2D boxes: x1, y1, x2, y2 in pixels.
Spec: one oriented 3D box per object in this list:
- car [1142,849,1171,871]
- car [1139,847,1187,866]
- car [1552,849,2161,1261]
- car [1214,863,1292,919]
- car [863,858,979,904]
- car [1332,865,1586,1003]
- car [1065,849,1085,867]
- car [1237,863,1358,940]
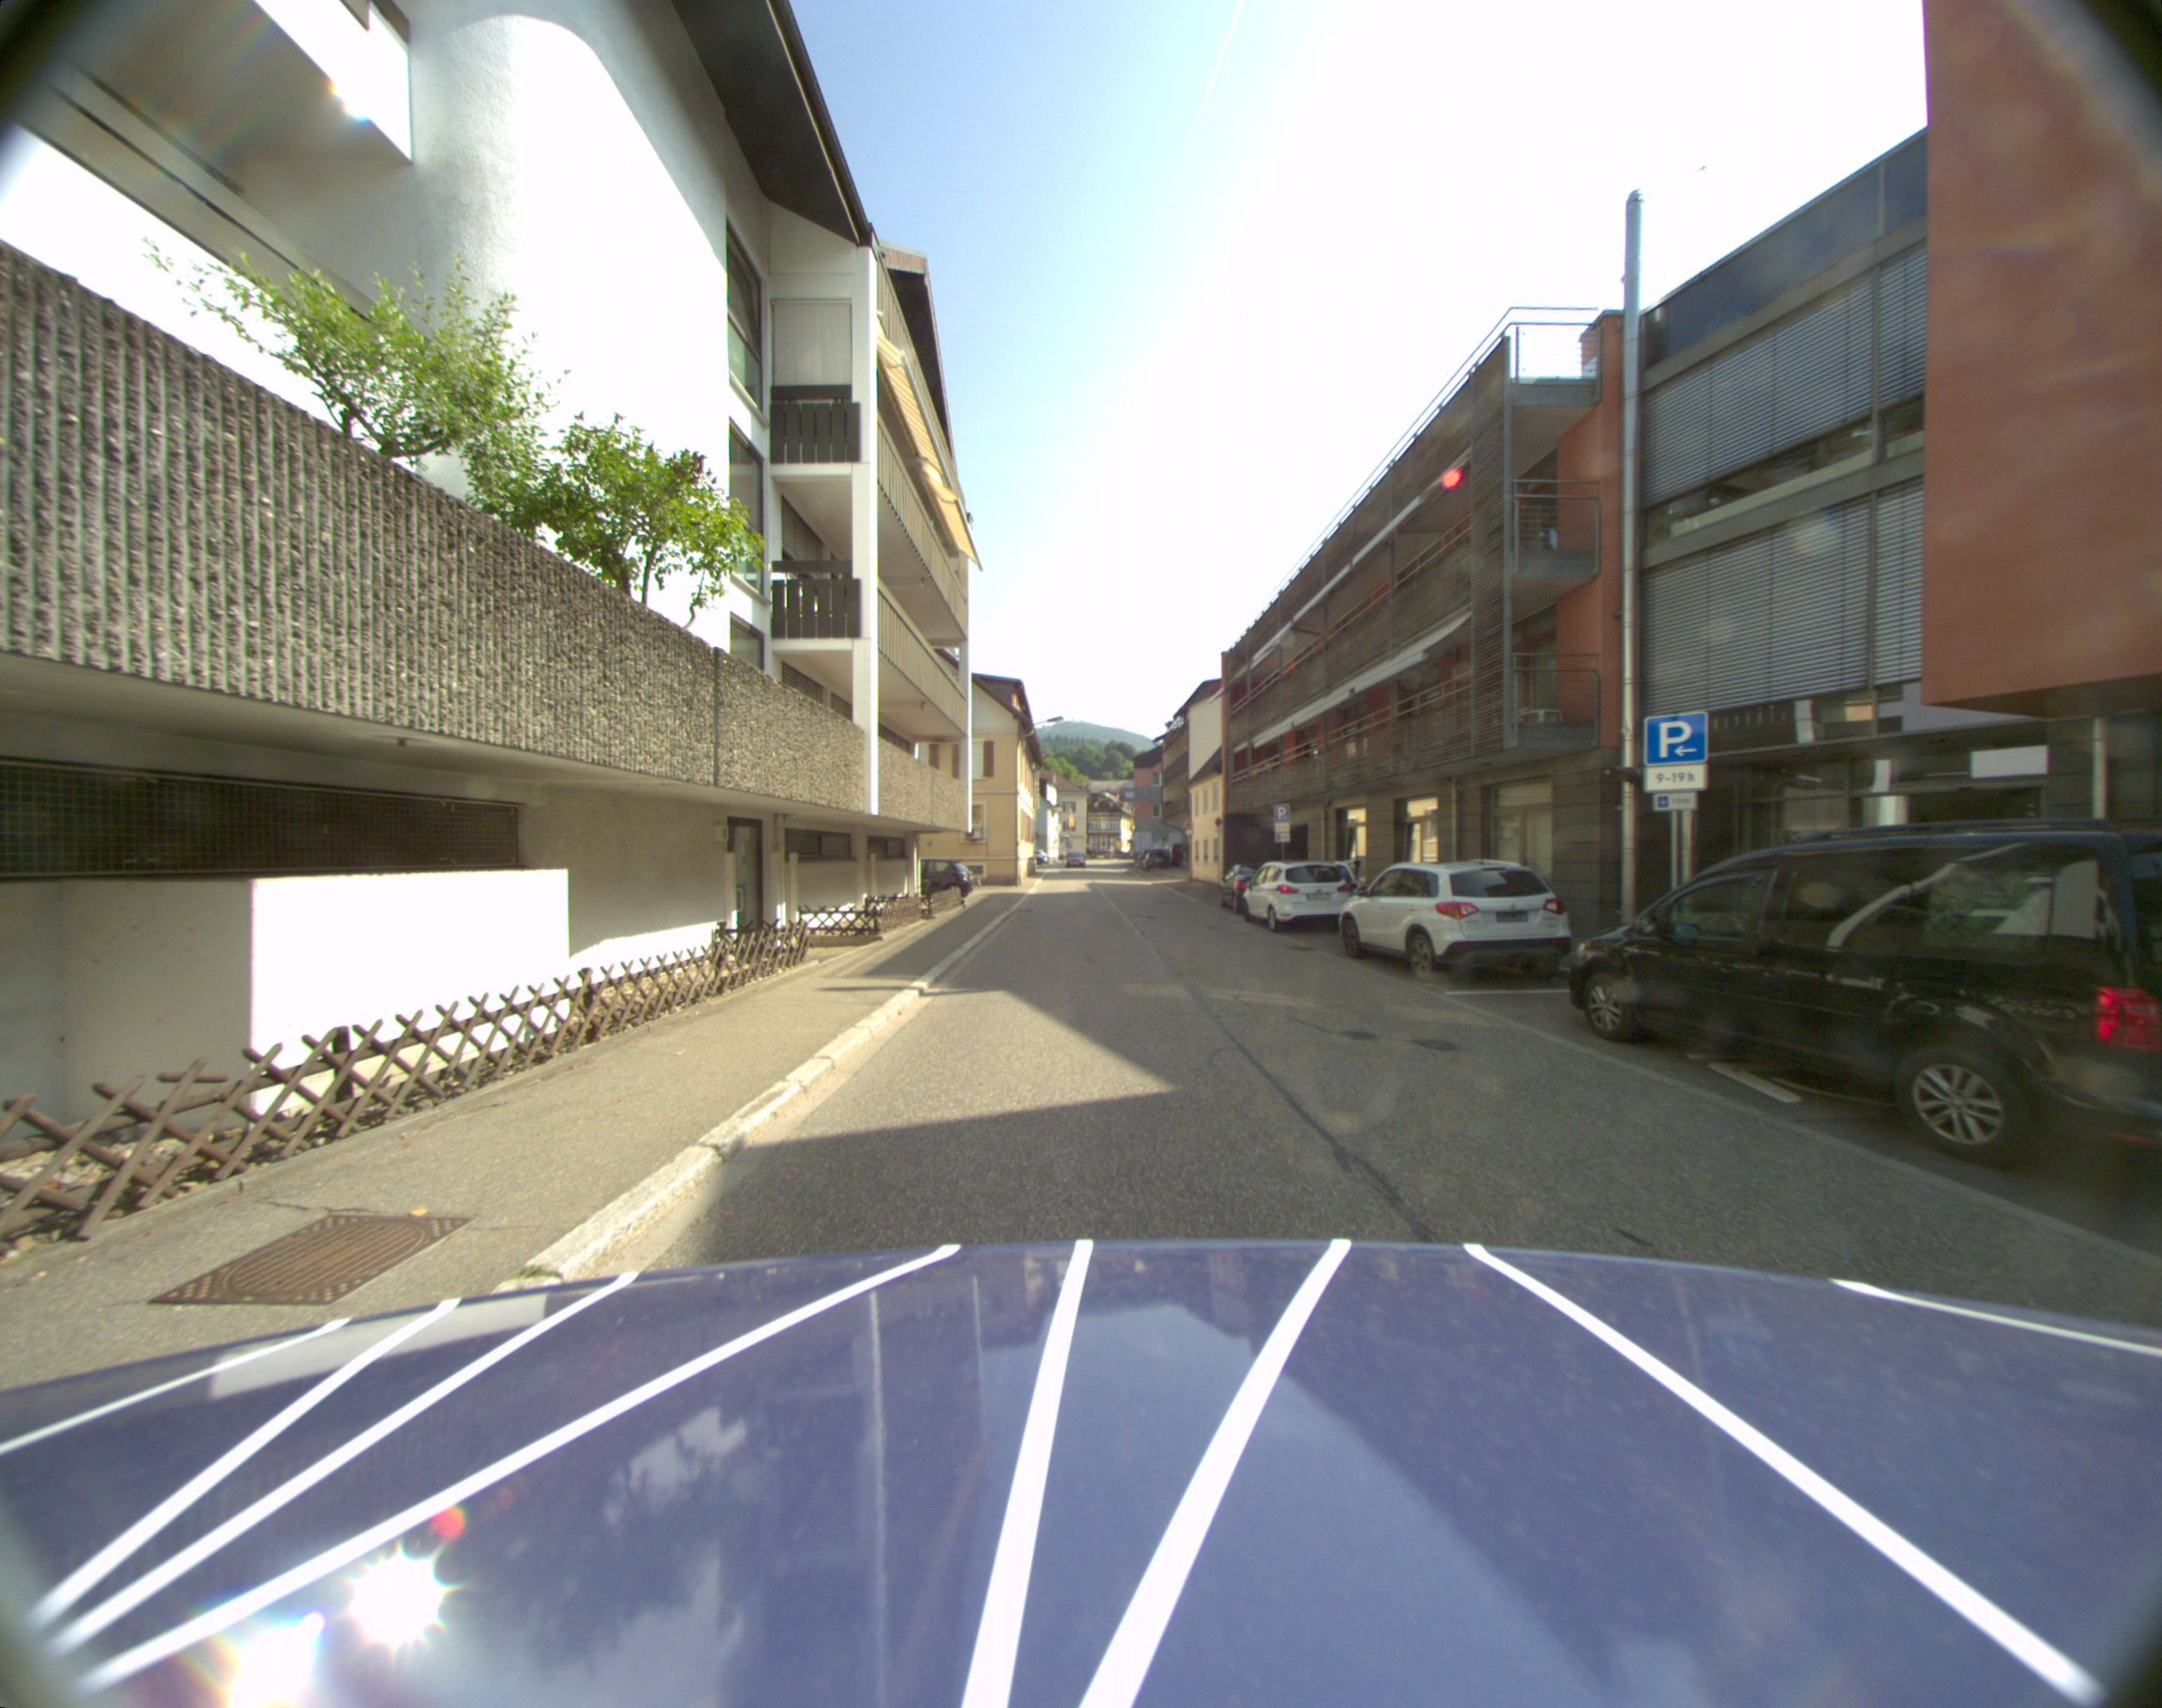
[{"bbox_3d":[5.830,0.428,59.346,1.787,1.566,3.888,-3,0,0],"label":"car"},{"bbox_3d":[7.283,0.209,67.654,4.000,1.673,1.834,0,-1,-8],"label":"car"},{"bbox_3d":[5.496,0.870,5.259,1.724,1.786,4.268,0,0,-2],"label":"car"},{"bbox_3d":[5.104,1.055,22.977,1.553,1.408,3.593,-2,1,1],"label":"car"},{"bbox_3d":[-5.730,0.955,27.585,3.837,1.470,1.700,-2,0,-2],"label":"car"},{"bbox_3d":[5.214,0.992,11.136,1.679,1.580,3.949,-1,0,-1],"label":"car"},{"bbox_3d":[-0.607,0.376,71.924,1.822,1.652,3.999,0,0,-1],"label":"car"},{"bbox_3d":[4.947,1.029,17.880,1.678,1.546,3.764,-1,0,-1],"label":"car"}]
